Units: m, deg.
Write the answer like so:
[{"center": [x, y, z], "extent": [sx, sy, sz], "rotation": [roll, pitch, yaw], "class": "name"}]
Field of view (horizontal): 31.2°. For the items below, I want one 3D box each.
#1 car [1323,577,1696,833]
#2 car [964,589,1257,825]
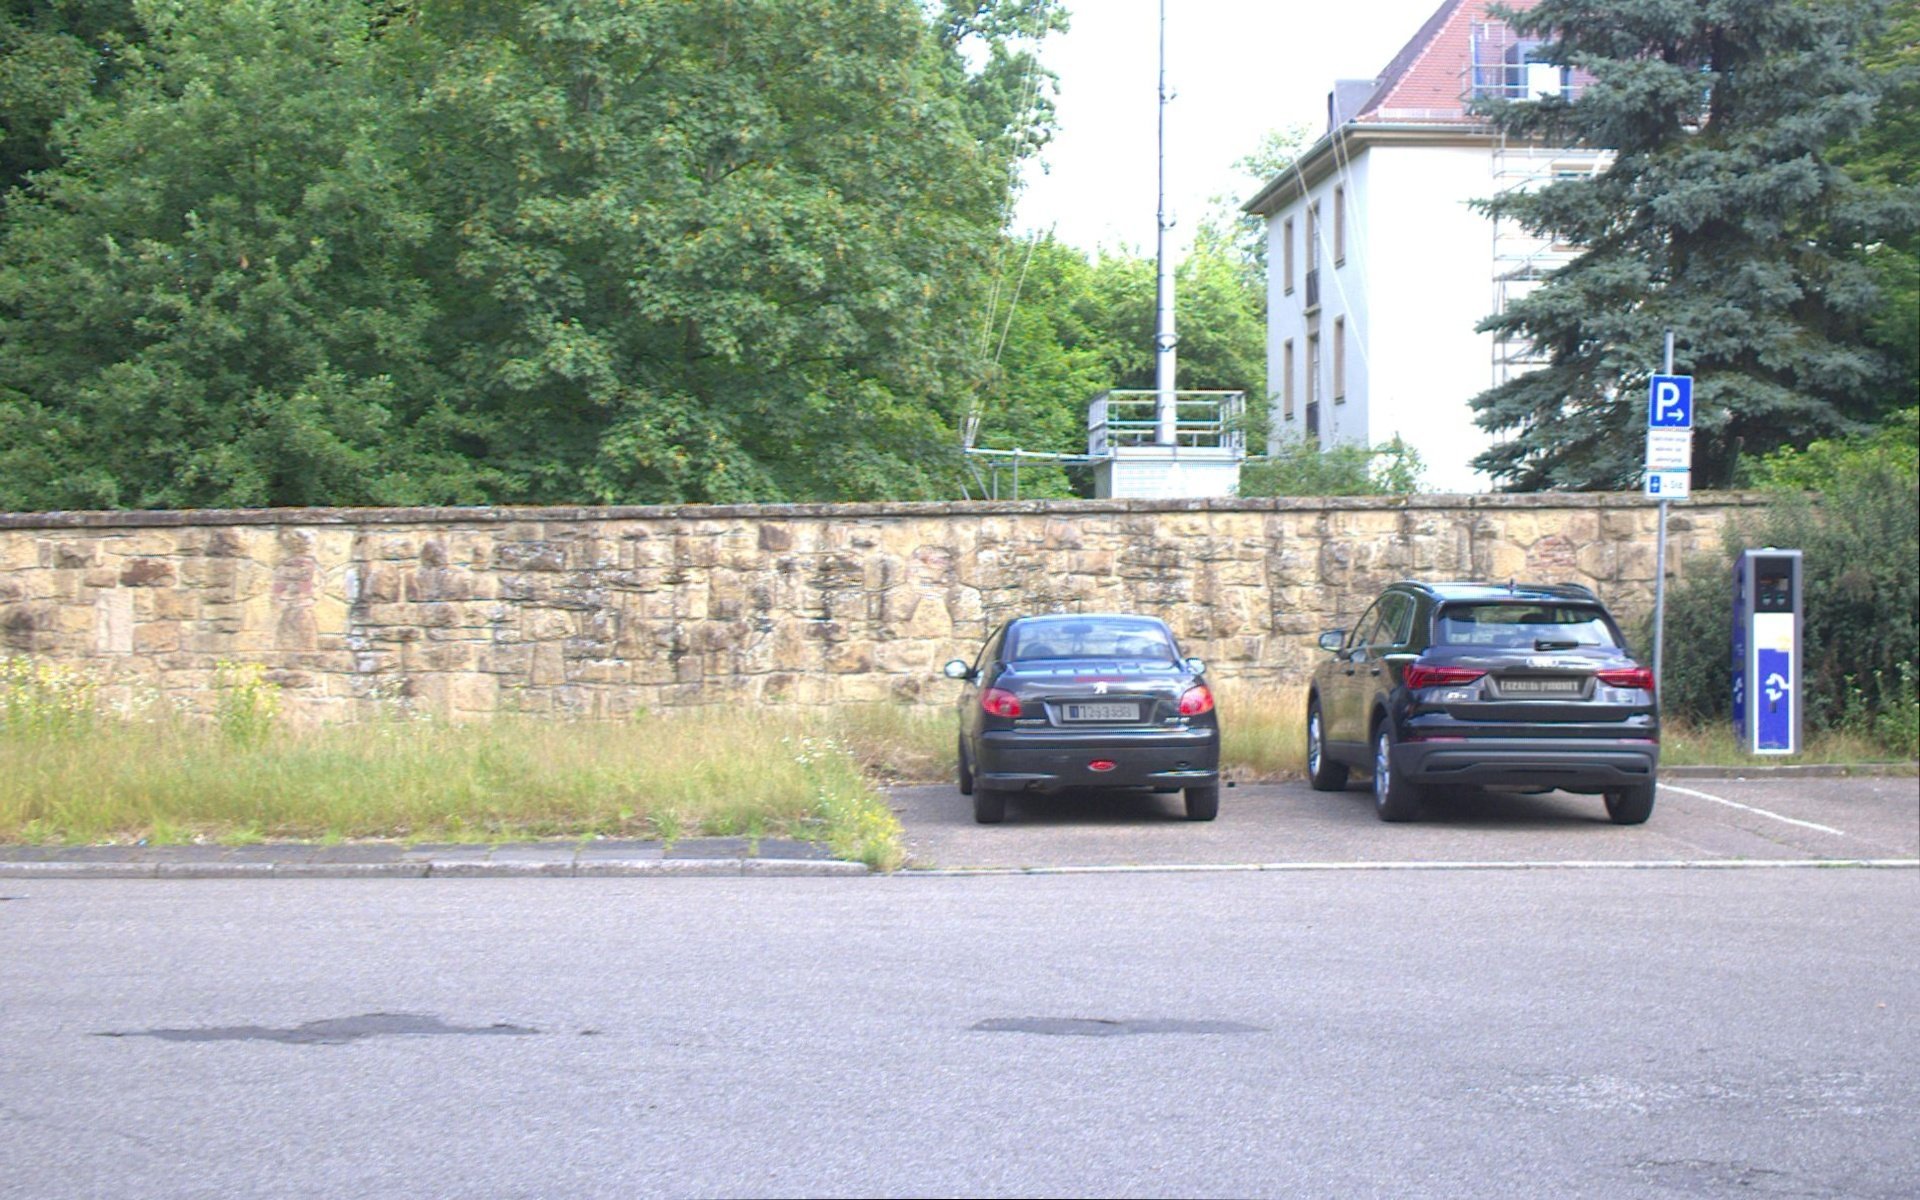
[{"center": [3.712, 0.656, 23.899], "extent": [1.893, 1.541, 4.000], "rotation": [0, 1, -1], "class": "car"}, {"center": [0.982, 0.691, 24.361], "extent": [1.873, 1.436, 4.000], "rotation": [0, 1, 0], "class": "car"}]
